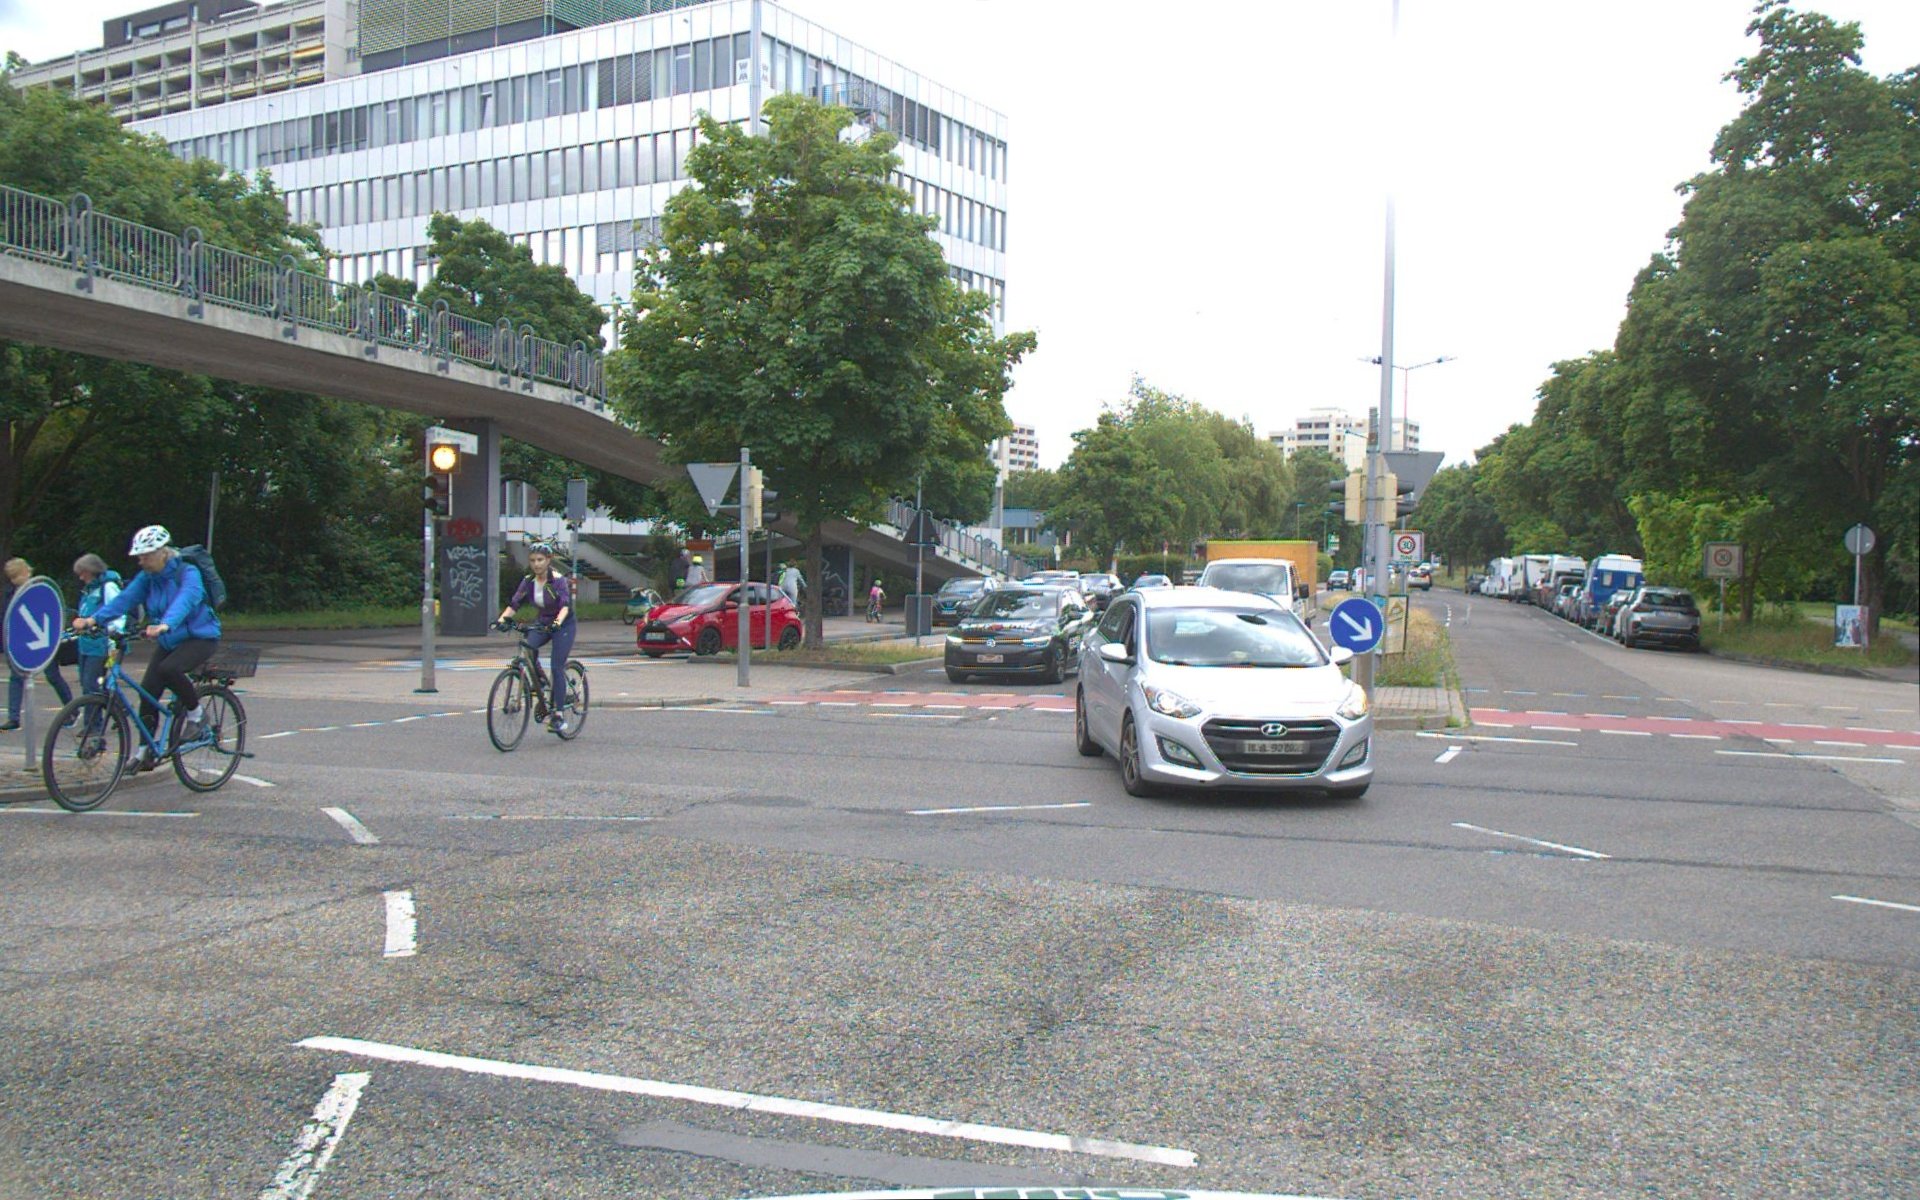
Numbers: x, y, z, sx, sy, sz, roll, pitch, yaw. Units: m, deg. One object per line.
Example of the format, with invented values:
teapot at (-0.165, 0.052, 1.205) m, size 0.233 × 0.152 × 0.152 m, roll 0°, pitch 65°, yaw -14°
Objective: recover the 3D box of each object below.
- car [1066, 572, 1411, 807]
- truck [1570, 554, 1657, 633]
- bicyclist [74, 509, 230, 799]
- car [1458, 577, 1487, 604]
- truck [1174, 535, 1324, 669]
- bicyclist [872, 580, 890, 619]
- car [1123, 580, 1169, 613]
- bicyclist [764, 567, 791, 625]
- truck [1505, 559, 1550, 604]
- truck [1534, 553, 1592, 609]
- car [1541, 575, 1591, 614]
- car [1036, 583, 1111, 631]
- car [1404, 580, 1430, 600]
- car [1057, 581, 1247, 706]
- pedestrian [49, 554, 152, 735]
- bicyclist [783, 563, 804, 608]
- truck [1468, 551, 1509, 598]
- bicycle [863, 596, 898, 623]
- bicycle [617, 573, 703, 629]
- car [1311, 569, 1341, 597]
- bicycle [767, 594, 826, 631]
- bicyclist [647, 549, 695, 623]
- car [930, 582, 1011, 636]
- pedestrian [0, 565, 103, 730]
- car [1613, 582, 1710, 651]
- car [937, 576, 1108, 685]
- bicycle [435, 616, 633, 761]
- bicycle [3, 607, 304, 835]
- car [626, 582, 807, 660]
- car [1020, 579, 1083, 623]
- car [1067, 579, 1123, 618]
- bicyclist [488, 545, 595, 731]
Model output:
car at (2.012, 0.566, 13.235) m, size 1.754 × 1.545 × 4.322 m, roll 1°, pitch 1°, yaw -4°
truck at (23.605, -0.248, 59.954) m, size 2.128 × 2.702 × 6.251 m, roll 0°, pitch 0°, yaw 14°
bicyclist at (-5.202, 0.328, 10.674) m, size 0.630 × 1.799 × 0.647 m, roll 1°, pitch 1°, yaw 12°
car at (39.189, -0.759, 126.565) m, size 1.616 × 1.951 × 3.923 m, roll 1°, pitch 2°, yaw 11°
truck at (5.565, -0.029, 31.191) m, size 2.110 × 2.237 × 5.844 m, roll 1°, pitch 1°, yaw 16°
bicyclist at (-2.496, -0.021, 52.281) m, size 0.421 × 1.239 × 0.568 m, roll 1°, pitch 1°, yaw 14°
car at (9.299, -0.186, 82.515) m, size 1.636 × 1.579 × 4.003 m, roll 1°, pitch 1°, yaw 15°
bicyclist at (-5.358, -0.123, 48.480) m, size 0.554 × 1.673 × 0.530 m, roll 1°, pitch 0°, yaw 30°
truck at (34.293, -1.107, 100.002) m, size 1.951 × 2.617 × 5.383 m, roll 1°, pitch 1°, yaw 13°
truck at (32.067, -1.024, 88.090) m, size 1.951 × 2.887 × 5.737 m, roll 1°, pitch 1°, yaw 11°
car at (28.932, -0.278, 79.030) m, size 1.683 × 1.790 × 4.004 m, roll 1°, pitch 1°, yaw 13°
car at (3.496, 0.180, 50.488) m, size 1.526 × 1.369 × 2.973 m, roll 1°, pitch 1°, yaw 20°
car at (37.144, -0.808, 134.481) m, size 1.977 × 1.531 × 4.003 m, roll 1°, pitch 1°, yaw 14°
car at (2.711, 0.495, 22.349) m, size 1.856 × 1.445 × 4.740 m, roll 1°, pitch 1°, yaw 15°
pedestrian at (-7.921, 0.398, 15.252) m, size 0.672 × 1.632 × 0.488 m, roll 1°, pitch 1°, yaw 10°
bicyclist at (-4.569, -0.396, 45.382) m, size 0.396 × 1.202 × 0.377 m, roll 3°, pitch 2°, yaw 17°
truck at (35.395, -1.689, 110.887) m, size 1.951 × 3.061 × 5.777 m, roll 1°, pitch 1°, yaw 11°
bicycle at (-2.507, 0.299, 52.233) m, size 0.499 × 0.792 × 1.842 m, roll 1°, pitch 1°, yaw 16°
bicycle at (-7.838, -0.001, 43.373) m, size 0.838 × 1.338 × 3.232 m, roll 1°, pitch 2°, yaw 17°
car at (27.238, -1.290, 122.946) m, size 1.951 × 2.048 × 4.003 m, roll 1°, pitch 1°, yaw 16°
bicycle at (-4.473, 0.321, 45.441) m, size 0.747 × 0.965 × 1.953 m, roll 1°, pitch 1°, yaw 23°
bicyclist at (-7.678, -0.397, 43.952) m, size 0.838 × 1.925 × 1.128 m, roll 1°, pitch 2°, yaw 17°
car at (0.375, 0.245, 52.639) m, size 1.636 × 1.579 × 3.895 m, roll 1°, pitch 1°, yaw 15°
pedestrian at (-8.716, 0.439, 15.752) m, size 0.898 × 1.537 × 0.404 m, roll 1°, pitch 1°, yaw 4°
car at (18.560, 0.388, 43.906) m, size 1.746 × 1.691 × 4.003 m, roll 1°, pitch 1°, yaw 14°
car at (1.070, 0.400, 25.795) m, size 1.732 × 1.503 × 4.393 m, roll 1°, pitch 1°, yaw 15°
bicycle at (-3.767, 0.746, 14.866) m, size 0.711 × 1.120 × 2.266 m, roll 1°, pitch 1°, yaw 14°
bicycle at (-5.213, 0.719, 10.866) m, size 0.531 × 1.289 × 2.113 m, roll 1°, pitch 1°, yaw 14°
car at (-4.696, 0.384, 32.309) m, size 1.486 × 1.414 × 3.520 m, roll 1°, pitch 1°, yaw 35°
car at (3.515, -0.001, 63.010) m, size 1.636 × 1.579 × 3.765 m, roll 1°, pitch 1°, yaw 15°
car at (5.725, -0.084, 69.918) m, size 1.636 × 1.579 × 4.003 m, roll 1°, pitch 1°, yaw 15°
bicyclist at (-3.766, 0.328, 14.899) m, size 0.664 × 1.622 × 0.695 m, roll 1°, pitch 0°, yaw 14°
